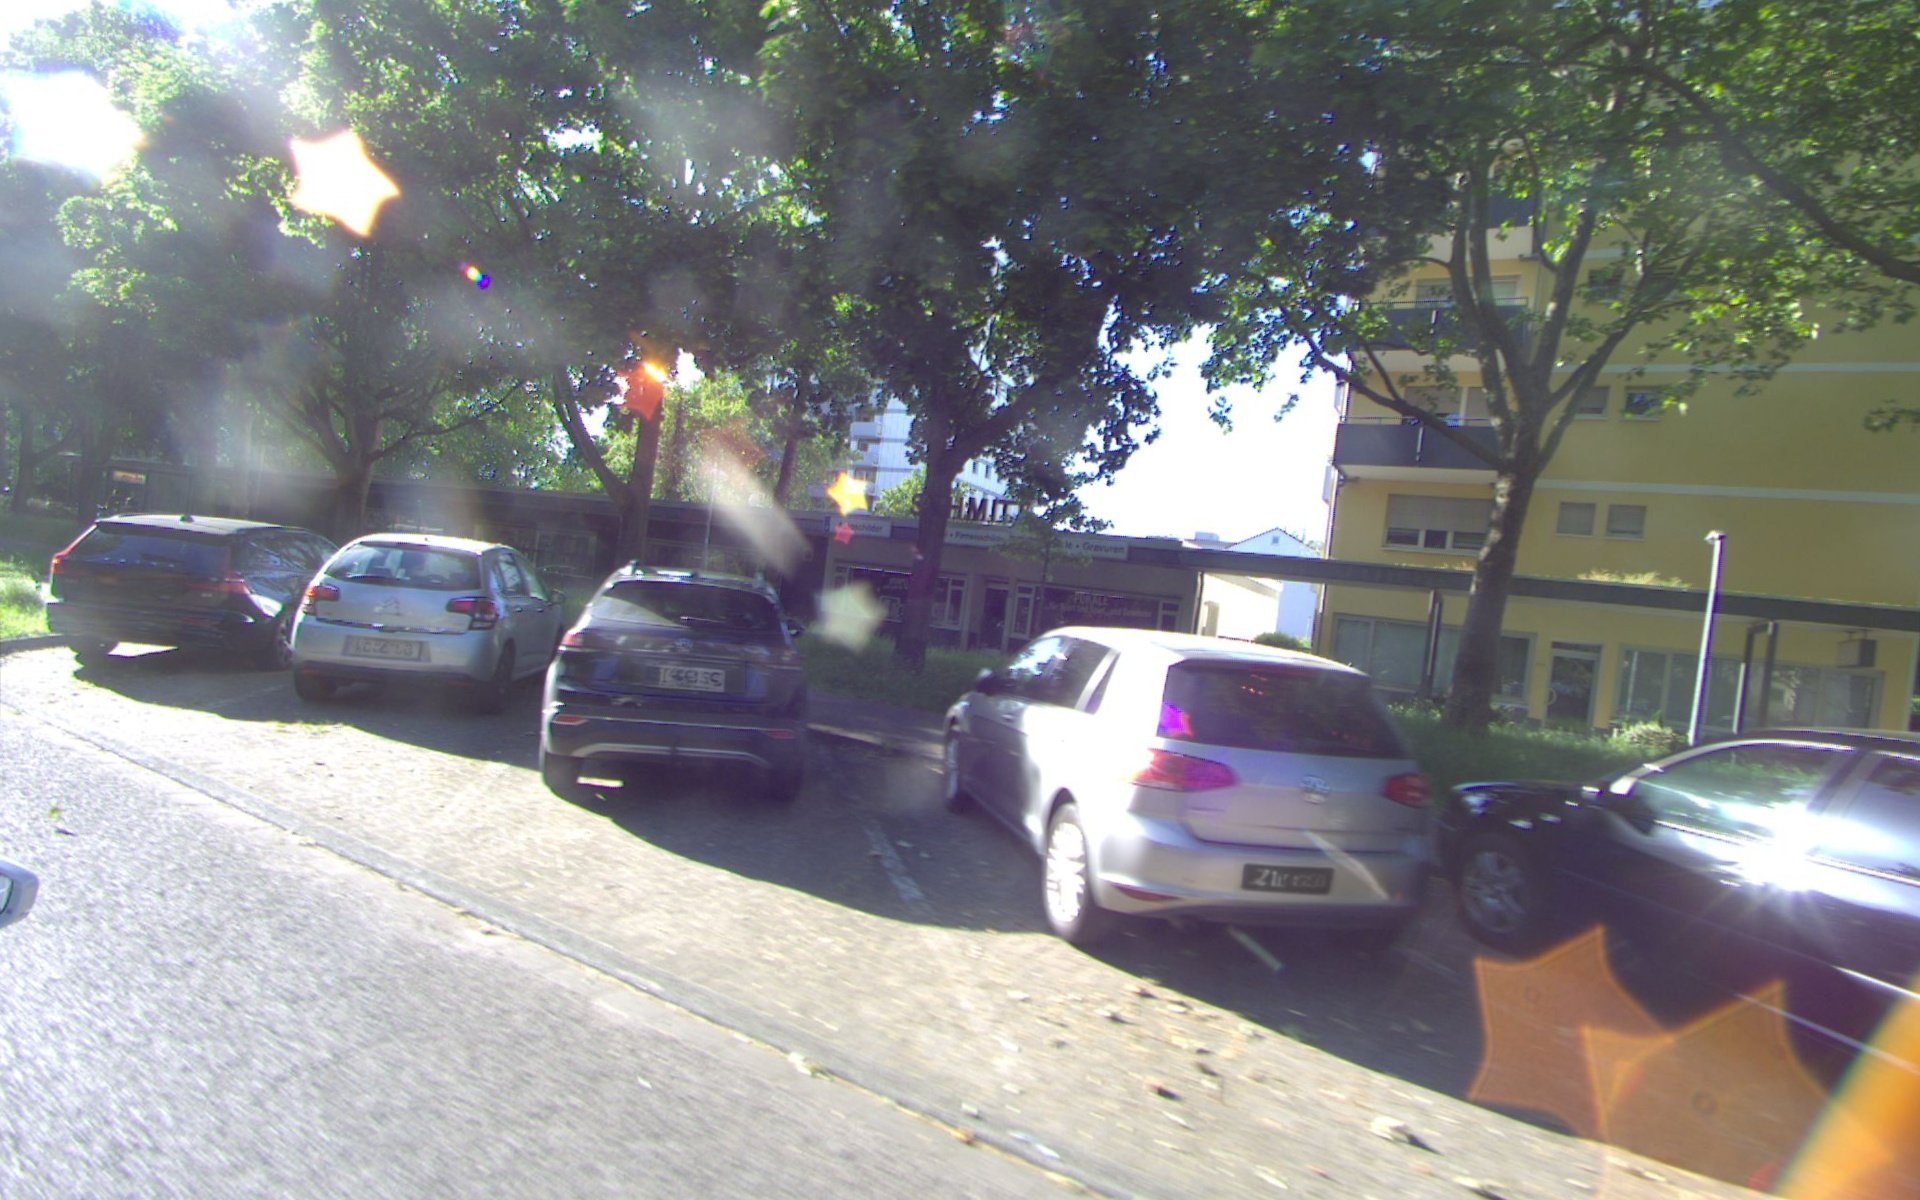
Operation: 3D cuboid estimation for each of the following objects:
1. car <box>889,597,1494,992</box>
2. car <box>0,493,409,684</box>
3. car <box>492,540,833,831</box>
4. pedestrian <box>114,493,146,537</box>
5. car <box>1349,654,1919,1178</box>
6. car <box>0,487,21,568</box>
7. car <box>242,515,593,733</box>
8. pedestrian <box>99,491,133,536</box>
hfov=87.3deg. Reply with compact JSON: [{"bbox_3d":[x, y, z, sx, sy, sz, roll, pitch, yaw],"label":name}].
[{"bbox_3d":[0.872,0.854,6.370,1.888,1.469,4.450,5,0,-13],"label":"car"},{"bbox_3d":[-7.998,-0.122,11.262,1.948,1.477,4.611,7,0,-14],"label":"car"},{"bbox_3d":[-2.259,0.474,8.297,1.827,1.590,4.611,6,0,-13],"label":"car"},{"bbox_3d":[-41.442,-4.230,50.235,0.738,2.038,0.820,7,0,-9],"label":"pedestrian"},{"bbox_3d":[3.916,1.218,4.538,1.887,1.469,4.452,5,0,-10],"label":"car"},{"bbox_3d":[-21.004,-1.686,19.425,1.826,1.700,4.617,8,-2,-10],"label":"car"},{"bbox_3d":[-5.274,0.188,10.569,1.826,1.589,4.614,7,0,-11],"label":"car"},{"bbox_3d":[-40.635,-4.164,48.448,0.738,2.038,0.820,7,0,-9],"label":"pedestrian"}]
